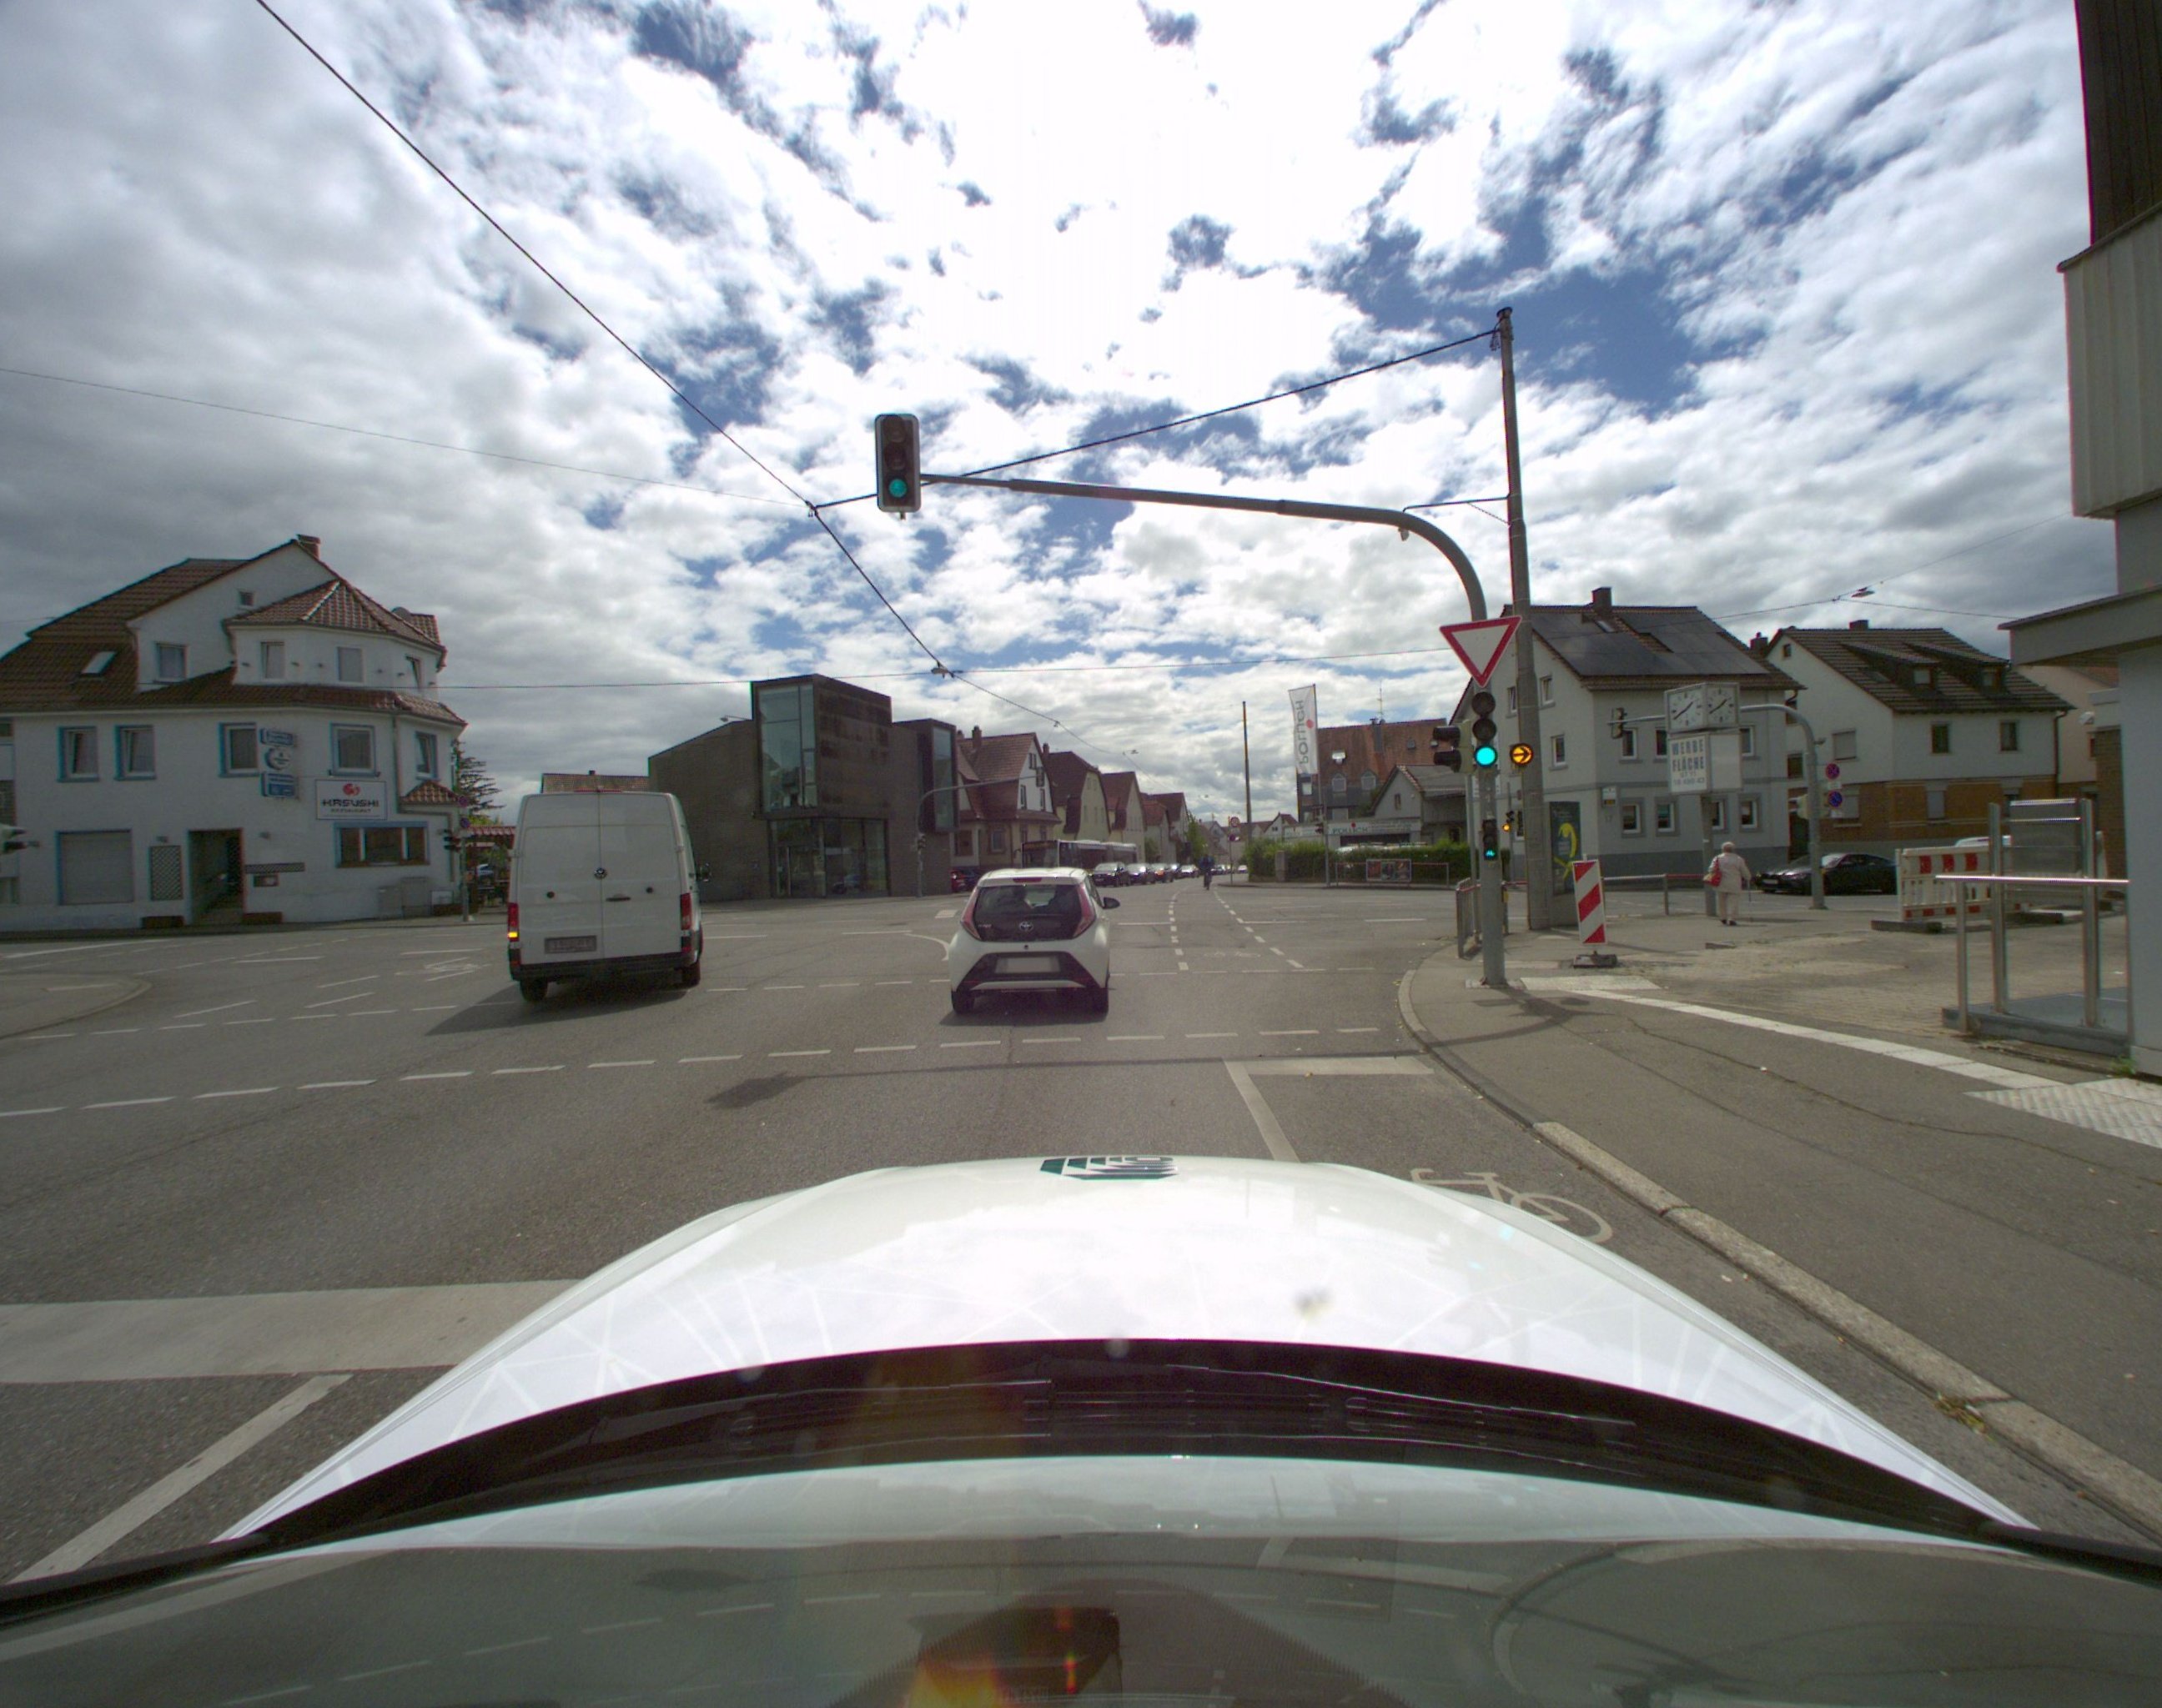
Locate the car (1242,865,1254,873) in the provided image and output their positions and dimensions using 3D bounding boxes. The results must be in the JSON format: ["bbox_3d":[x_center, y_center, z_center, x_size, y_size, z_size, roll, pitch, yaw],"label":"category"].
[{"bbox_3d":[33.844,3.054,164.878,1.977,1.640,4.020,-1,0,19],"label":"car"}]

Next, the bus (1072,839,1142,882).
[{"bbox_3d":[2.117,0.475,60.872,2.756,2.914,9.233,-1,0,17],"label":"bus"}]

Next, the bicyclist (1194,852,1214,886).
[{"bbox_3d":[5.926,0.702,39.338,0.837,1.614,1.084,-1,0,4],"label":"bicyclist"}]

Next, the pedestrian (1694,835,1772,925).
[{"bbox_3d":[12.347,0.501,15.455,0.827,1.638,0.877,-2,-3,18],"label":"pedestrian"}]

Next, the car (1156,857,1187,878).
[{"bbox_3d":[9.104,1.301,81.640,1.976,2.013,4.021,-2,0,22],"label":"car"}]

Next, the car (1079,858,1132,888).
[{"bbox_3d":[1.529,1.111,48.273,1.977,1.640,4.020,-1,0,19],"label":"car"}]

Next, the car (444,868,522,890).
[{"bbox_3d":[-38.768,1.603,52.870,4.019,1.310,1.516,-1,0,-38],"label":"car"}]

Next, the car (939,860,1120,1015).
[{"bbox_3d":[-0.418,0.826,9.692,1.731,1.460,3.535,-2,0,3],"label":"car"}]

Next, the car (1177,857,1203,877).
[{"bbox_3d":[11.902,1.393,88.670,1.977,2.014,4.020,-1,0,20],"label":"car"}]

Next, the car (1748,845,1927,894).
[{"bbox_3d":[25.260,0.473,27.257,4.600,1.457,1.994,-1,2,-9],"label":"car"}]

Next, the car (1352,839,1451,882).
[{"bbox_3d":[15.525,0.302,39.551,3.984,1.948,1.995,-1,-1,-8],"label":"car"}]

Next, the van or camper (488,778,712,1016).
[{"bbox_3d":[-6.637,0.495,11.873,2.118,2.586,5.598,-3,0,-25],"label":"van or camper"}]

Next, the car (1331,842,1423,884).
[{"bbox_3d":[15.221,0.437,41.952,3.982,2.014,1.995,-1,-1,-7],"label":"car"}]

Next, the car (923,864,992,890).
[{"bbox_3d":[-8.068,1.493,53.445,3.957,1.684,2.008,-1,0,15],"label":"car"}]

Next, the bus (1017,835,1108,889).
[{"bbox_3d":[-0.934,0.478,51.109,2.756,3.060,9.233,-1,0,17],"label":"bus"}]

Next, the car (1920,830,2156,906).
[{"bbox_3d":[25.354,0.350,21.656,4.471,1.794,1.913,-1,0,-7],"label":"car"}]

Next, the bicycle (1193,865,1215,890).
[{"bbox_3d":[5.941,1.123,39.370,0.828,1.164,2.194,-2,0,4],"label":"bicycle"}]

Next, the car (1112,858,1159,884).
[{"bbox_3d":[3.605,1.085,53.409,1.977,1.640,4.204,-1,0,19],"label":"car"}]

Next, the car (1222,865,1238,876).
[{"bbox_3d":[24.503,2.696,133.544,1.977,1.640,4.020,-1,0,19],"label":"car"}]

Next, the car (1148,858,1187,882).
[{"bbox_3d":[6.414,1.152,59.886,1.977,1.640,4.020,-1,0,19],"label":"car"}]

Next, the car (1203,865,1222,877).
[{"bbox_3d":[19.285,2.540,119.315,1.977,1.640,4.020,-1,0,19],"label":"car"}]

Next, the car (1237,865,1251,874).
[{"bbox_3d":[30.965,2.936,154.622,1.977,1.640,4.020,-1,0,19],"label":"car"}]

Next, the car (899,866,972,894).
[{"bbox_3d":[-8.988,1.618,50.554,3.957,1.640,2.008,-1,0,15],"label":"car"}]
